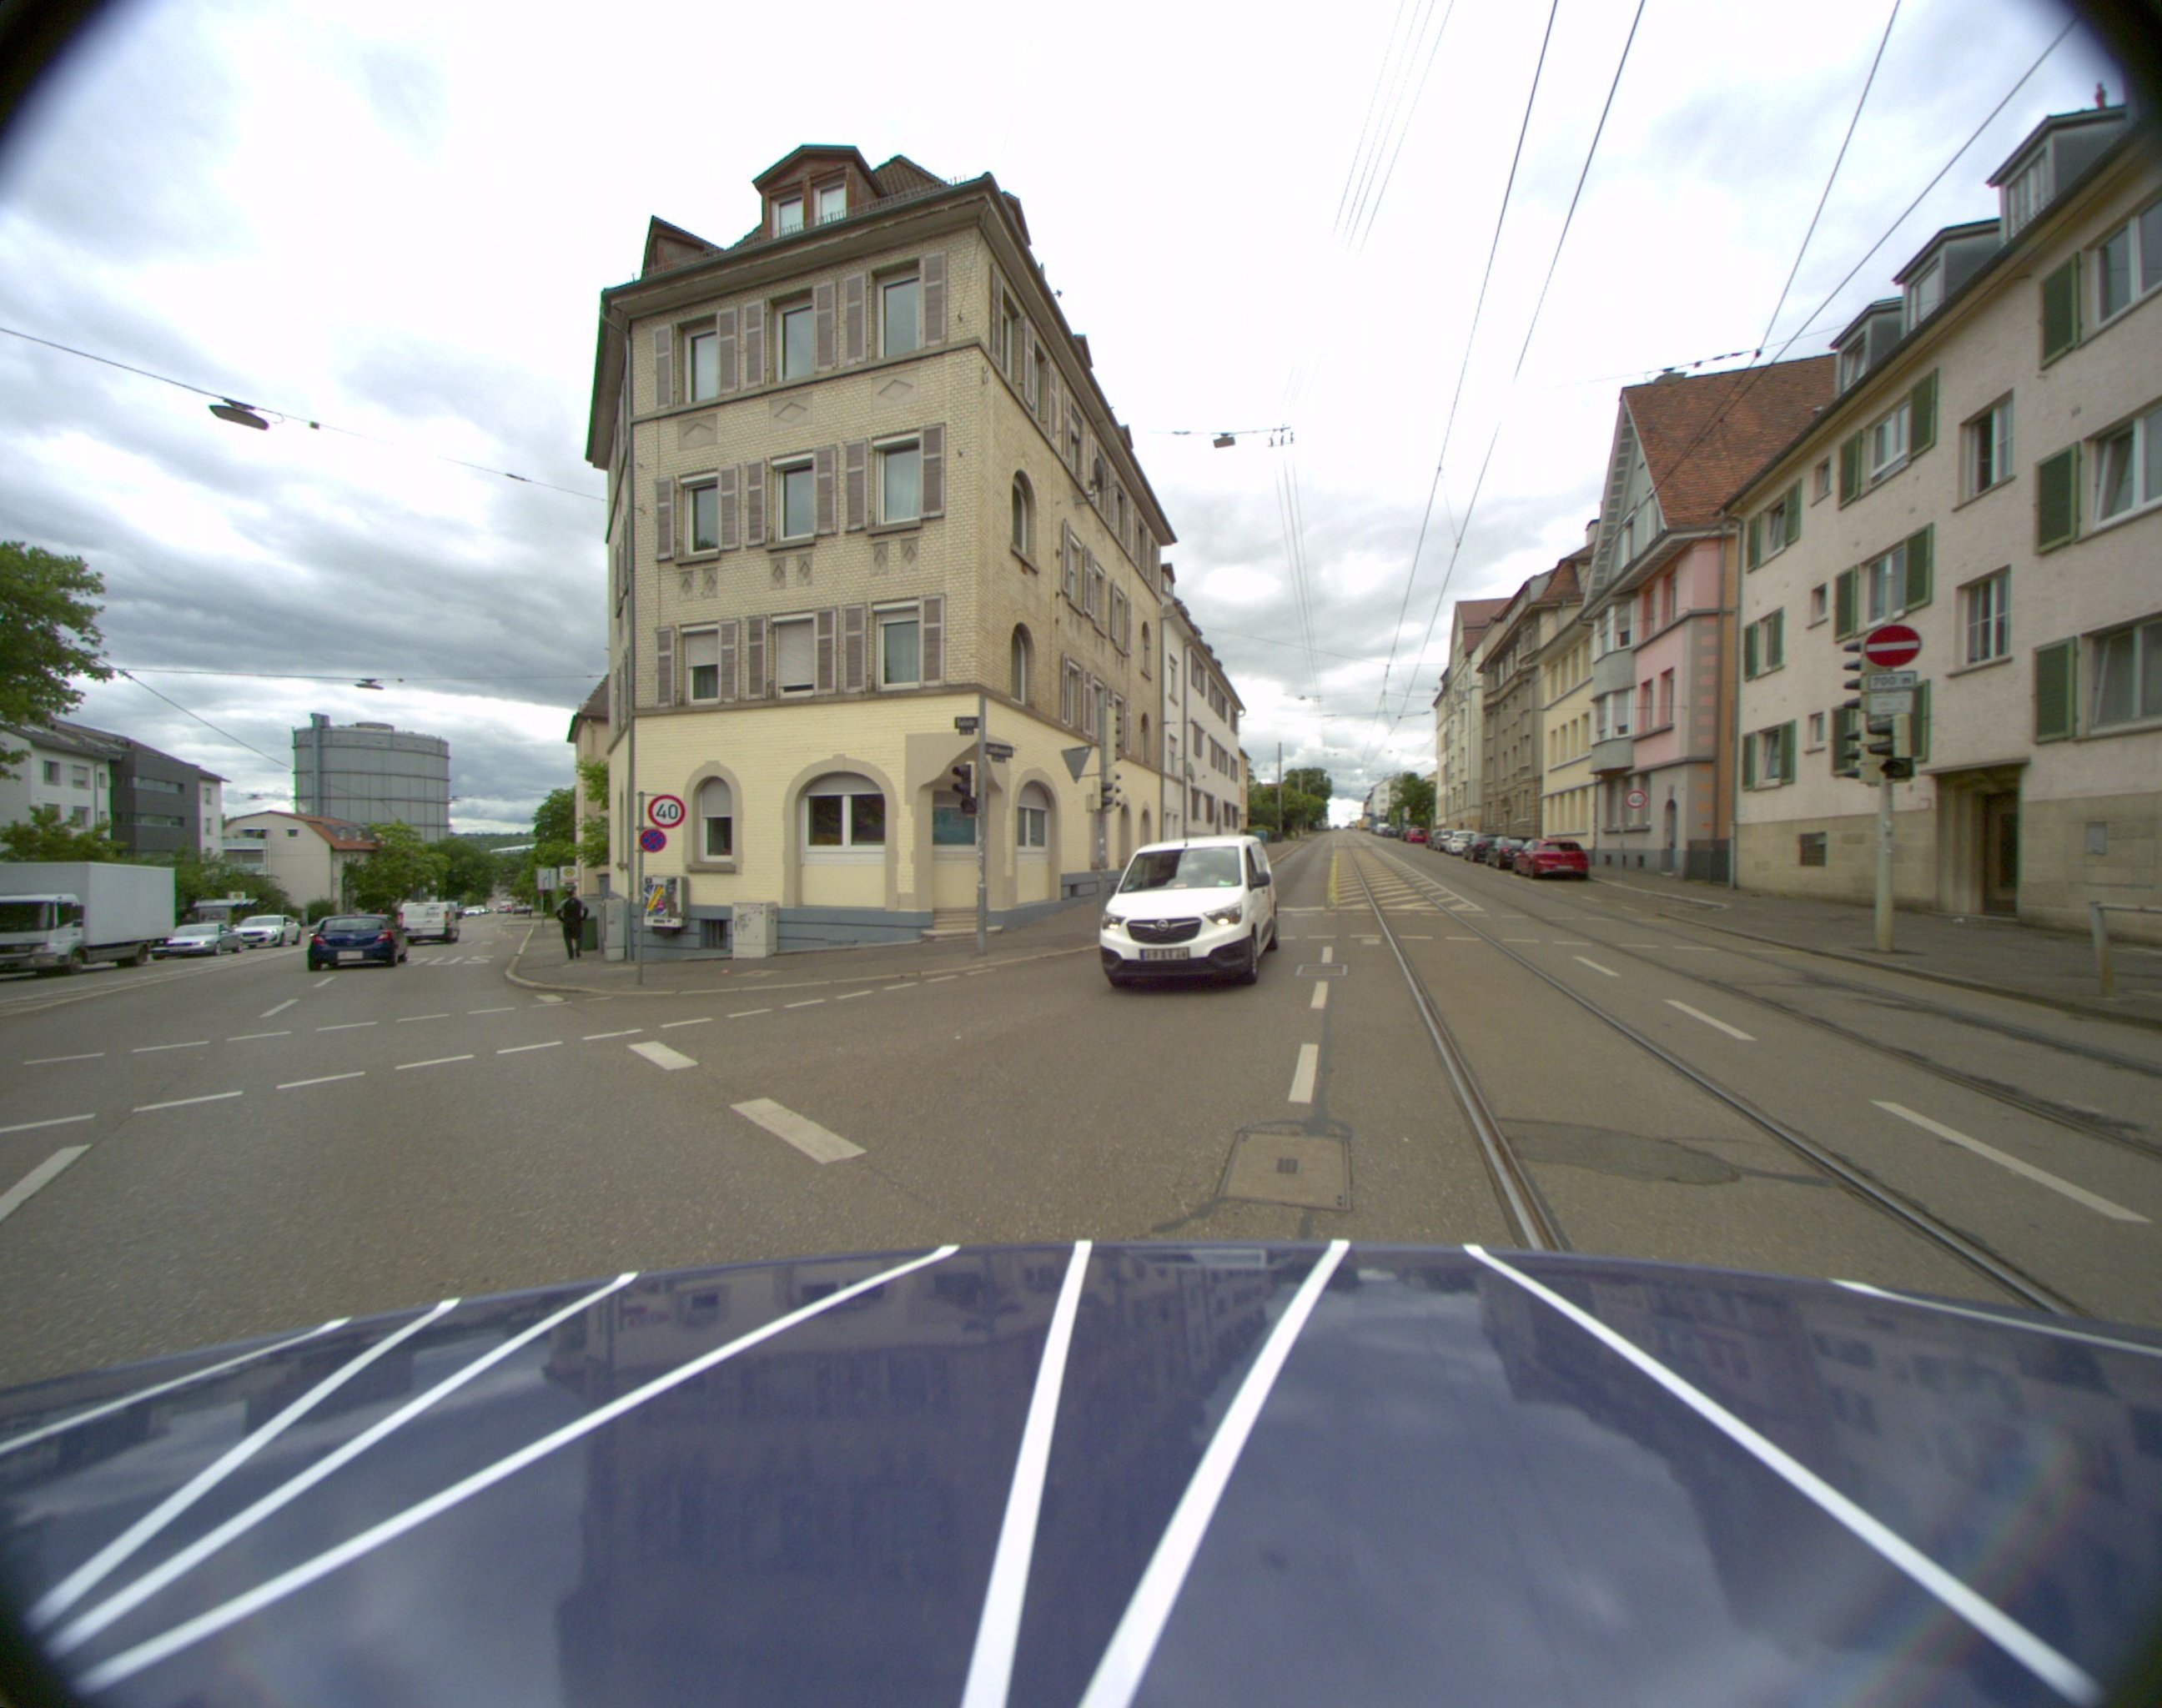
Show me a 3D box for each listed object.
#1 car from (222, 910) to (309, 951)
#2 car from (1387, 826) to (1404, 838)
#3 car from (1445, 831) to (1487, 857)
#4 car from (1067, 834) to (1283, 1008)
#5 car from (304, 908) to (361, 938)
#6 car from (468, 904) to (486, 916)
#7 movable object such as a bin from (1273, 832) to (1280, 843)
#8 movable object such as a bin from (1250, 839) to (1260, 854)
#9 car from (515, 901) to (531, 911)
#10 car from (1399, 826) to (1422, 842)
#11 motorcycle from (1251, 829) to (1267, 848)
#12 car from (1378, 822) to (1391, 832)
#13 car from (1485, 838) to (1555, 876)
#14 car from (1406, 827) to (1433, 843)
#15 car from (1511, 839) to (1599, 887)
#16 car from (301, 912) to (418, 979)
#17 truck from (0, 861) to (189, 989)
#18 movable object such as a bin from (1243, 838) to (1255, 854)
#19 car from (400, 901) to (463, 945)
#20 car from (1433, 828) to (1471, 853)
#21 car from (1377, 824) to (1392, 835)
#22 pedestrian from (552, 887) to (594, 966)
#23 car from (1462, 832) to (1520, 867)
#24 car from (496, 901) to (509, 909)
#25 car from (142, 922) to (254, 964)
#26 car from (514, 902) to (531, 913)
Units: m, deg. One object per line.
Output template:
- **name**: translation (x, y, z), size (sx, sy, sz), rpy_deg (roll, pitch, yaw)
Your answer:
- **car**: translation (-41.489, 3.848, 38.778), size (2.003, 1.620, 4.398), rpy_deg (-3, 0, -33)
- **car**: translation (42.818, -3.031, 103.600), size (1.740, 1.518, 3.955), rpy_deg (2, 4, 17)
- **car**: translation (23.727, -0.650, 46.929), size (1.740, 1.503, 3.804), rpy_deg (0, 3, 19)
- **car**: translation (1.568, 0.724, 10.484), size (1.885, 1.827, 4.683), rpy_deg (-4, 0, 20)
- **car**: translation (-49.314, 4.484, 50.148), size (2.003, 1.620, 4.398), rpy_deg (-3, 0, -37)
- **car**: translation (-98.102, 9.067, 123.433), size (2.003, 1.590, 3.991), rpy_deg (-3, 0, -34)
- **movable object such as a bin**: translation (19.276, -1.653, 74.888), size (0.668, 1.053, 0.540), rpy_deg (-1, 2, 19)
- **movable object such as a bin**: translation (11.864, -0.516, 51.876), size (0.564, 1.004, 0.499), rpy_deg (3, 4, 10)
- **car**: translation (-95.808, 8.903, 130.456), size (2.003, 1.590, 3.991), rpy_deg (-3, 0, -34)
- **car**: translation (34.497, -2.131, 79.684), size (1.740, 1.518, 3.955), rpy_deg (2, 4, 17)
- **motorcycle**: translation (13.739, -1.243, 58.735), size (0.730, 1.383, 1.939), rpy_deg (5, 4, 25)
- **car**: translation (50.437, -4.448, 126.399), size (1.740, 1.518, 3.955), rpy_deg (2, 4, 17)
- **car**: translation (19.107, 0.069, 33.273), size (1.786, 1.403, 4.245), rpy_deg (2, 4, 19)
- **car**: translation (33.278, -1.893, 74.821), size (1.741, 1.451, 3.954), rpy_deg (2, 4, 14)
- **car**: translation (17.343, 0.268, 28.013), size (1.786, 1.431, 4.265), rpy_deg (2, 4, 19)
- **car**: translation (-20.034, 2.478, 21.270), size (1.763, 1.438, 3.742), rpy_deg (-2, 0, -34)
- **truck**: translation (-32.382, 2.099, 24.390), size (2.778, 3.481, 8.150), rpy_deg (-3, 0, -35)
- **movable object such as a bin**: translation (11.283, -0.522, 51.031), size (0.636, 1.004, 0.603), rpy_deg (3, 4, 19)
- **car**: translation (-30.123, 3.150, 35.359), size (1.875, 1.872, 4.275), rpy_deg (2, -3, -36)
- **car**: translation (25.413, -0.932, 52.128), size (1.741, 1.559, 4.146), rpy_deg (0, 3, 18)
- **car**: translation (46.271, -3.780, 115.992), size (1.740, 1.518, 3.955), rpy_deg (2, 4, 17)
- **pedestrian**: translation (-13.079, 1.837, 19.556), size (0.748, 1.925, 0.901), rpy_deg (-5, 2, -36)
- **car**: translation (20.680, -0.278, 38.467), size (1.786, 1.503, 4.530), rpy_deg (2, 4, 19)
- **car**: translation (-127.345, 11.293, 167.322), size (2.003, 1.590, 3.991), rpy_deg (-3, 0, -34)
- **car**: translation (-36.894, 3.671, 31.900), size (1.923, 1.291, 4.398), rpy_deg (-3, 0, -34)
- **car**: translation (-89.154, 8.510, 121.313), size (2.003, 1.590, 3.991), rpy_deg (-3, 0, -34)
